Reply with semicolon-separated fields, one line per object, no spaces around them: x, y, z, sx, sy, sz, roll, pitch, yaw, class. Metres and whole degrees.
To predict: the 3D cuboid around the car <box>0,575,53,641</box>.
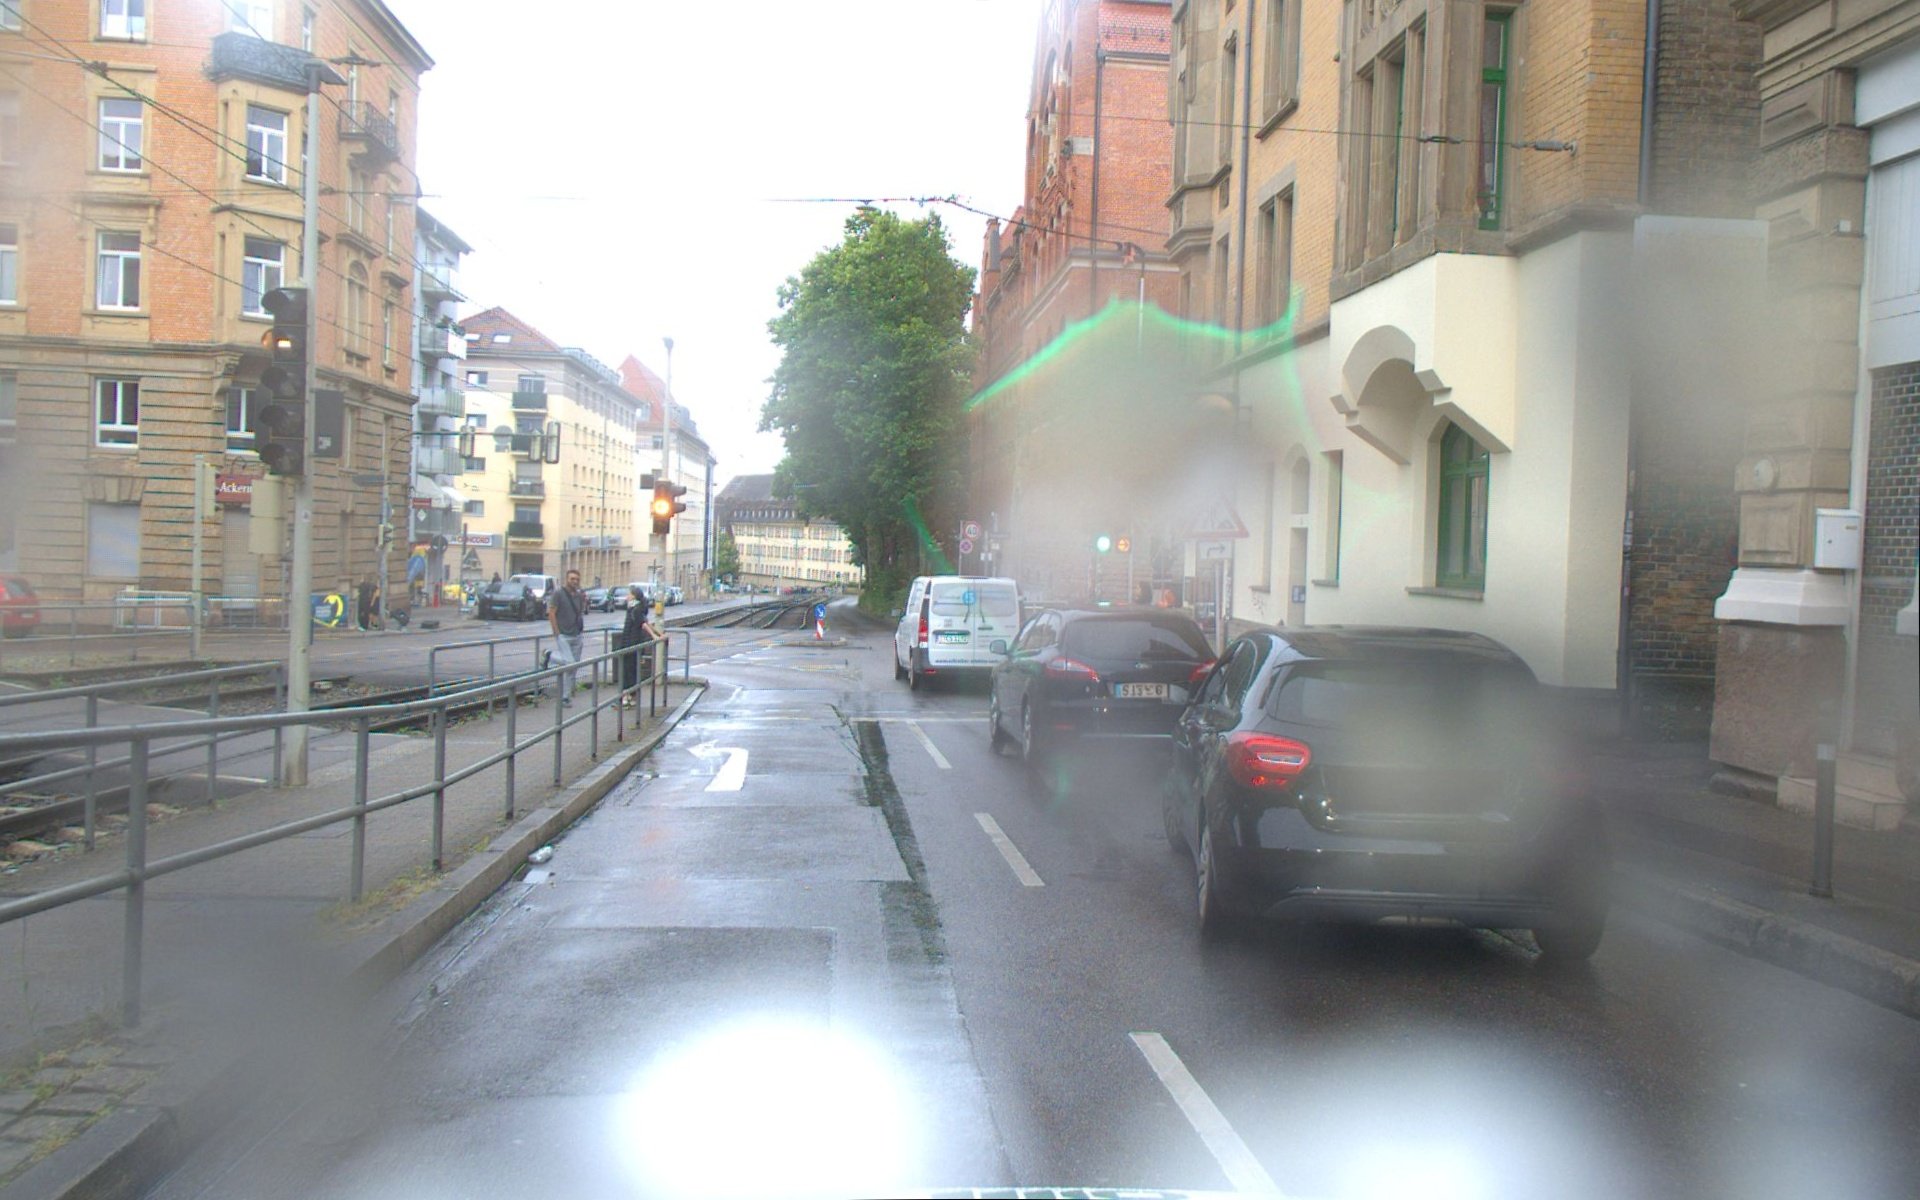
-23.423;0.151;38.613;3.531;1.515;1.683;1;0;-5;car

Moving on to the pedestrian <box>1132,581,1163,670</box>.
2.784;0.377;24.608;0.404;1.293;0.292;2;0;1;pedestrian

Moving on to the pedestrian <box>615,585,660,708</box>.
-4.175;0.598;21.433;0.522;1.557;0.435;2;0;-12;pedestrian

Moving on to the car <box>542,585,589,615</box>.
-19.648;-0.009;82.505;1.647;1.380;3.700;2;0;-4;car

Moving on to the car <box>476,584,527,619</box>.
-19.109;0.047;69.061;1.424;1.341;3.292;3;0;-5;car

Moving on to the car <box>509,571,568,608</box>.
-19.263;-0.468;75.723;1.751;1.557;4.459;2;0;-4;car

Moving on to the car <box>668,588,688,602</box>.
-25.096;-0.477;147.402;1.367;1.191;3.159;2;0;-4;car

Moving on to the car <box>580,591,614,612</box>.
-20.804;0.101;94.806;1.408;1.126;3.159;2;0;-4;car

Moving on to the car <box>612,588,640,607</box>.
-21.836;-0.190;108.117;1.367;1.191;3.159;2;0;-4;car

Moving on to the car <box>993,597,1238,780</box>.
1.357;0.748;16.100;1.679;1.494;4.277;2;0;-4;car

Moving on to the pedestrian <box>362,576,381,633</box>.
-17.649;0.131;49.578;0.510;1.695;0.474;1;0;-19;pedestrian

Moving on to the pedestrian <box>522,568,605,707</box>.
-5.142;0.474;21.449;0.728;1.754;0.736;1;0;43;pedestrian

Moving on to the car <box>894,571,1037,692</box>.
0.006;0.490;28.261;1.896;1.863;4.275;2;0;-7;car

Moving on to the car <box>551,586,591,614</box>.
-20.273;-0.017;86.331;1.470;1.380;3.159;2;0;-4;car

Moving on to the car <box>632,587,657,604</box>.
-22.714;-0.308;119.270;1.367;1.191;3.159;2;0;-4;car

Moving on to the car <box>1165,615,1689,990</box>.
2.116;0.823;8.648;1.855;1.414;4.002;1;0;4;car

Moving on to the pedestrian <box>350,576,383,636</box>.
-17.034;0.164;47.453;0.664;1.690;0.676;1;0;2;pedestrian

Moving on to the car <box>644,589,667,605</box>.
-23.117;-0.244;125.651;1.367;1.191;3.159;2;0;-4;car

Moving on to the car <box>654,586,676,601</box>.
-24.025;-0.547;134.895;1.367;1.191;3.159;2;0;-4;car
